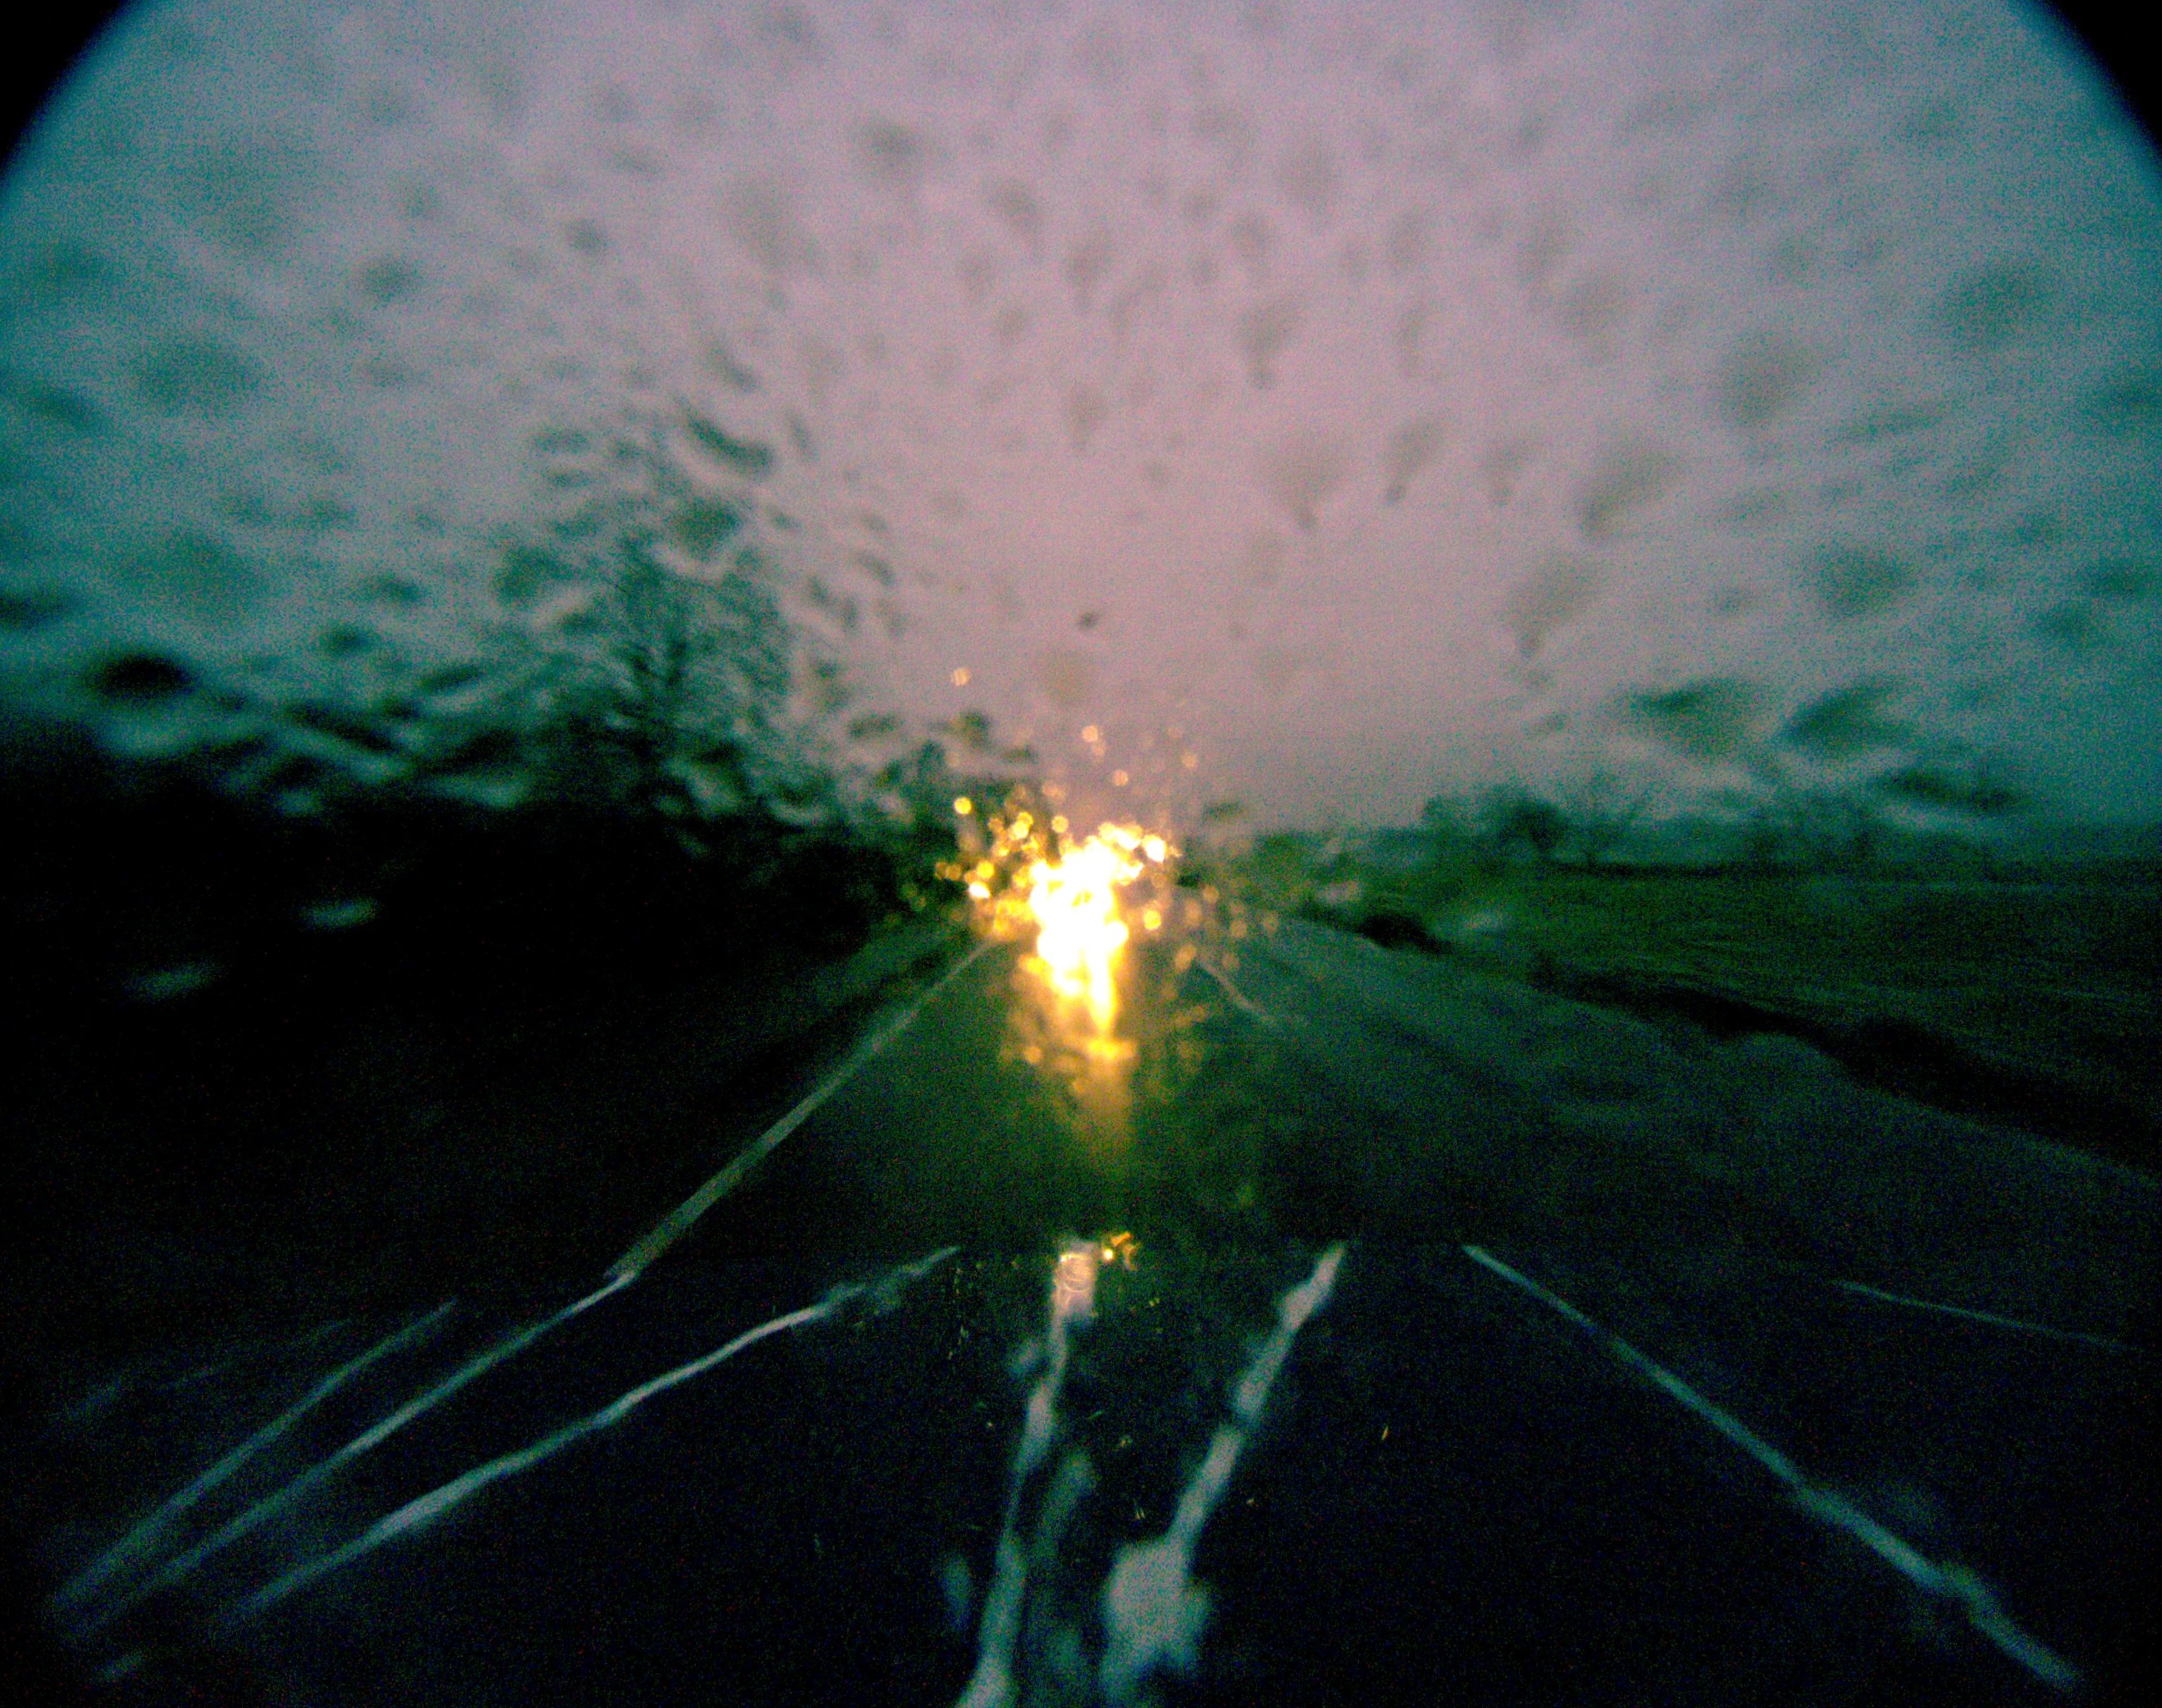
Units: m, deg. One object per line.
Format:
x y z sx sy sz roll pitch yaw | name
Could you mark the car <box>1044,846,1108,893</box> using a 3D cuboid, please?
-0.155 0.632 35.811 2.705 1.974 5.803 -2 1 1 | car
